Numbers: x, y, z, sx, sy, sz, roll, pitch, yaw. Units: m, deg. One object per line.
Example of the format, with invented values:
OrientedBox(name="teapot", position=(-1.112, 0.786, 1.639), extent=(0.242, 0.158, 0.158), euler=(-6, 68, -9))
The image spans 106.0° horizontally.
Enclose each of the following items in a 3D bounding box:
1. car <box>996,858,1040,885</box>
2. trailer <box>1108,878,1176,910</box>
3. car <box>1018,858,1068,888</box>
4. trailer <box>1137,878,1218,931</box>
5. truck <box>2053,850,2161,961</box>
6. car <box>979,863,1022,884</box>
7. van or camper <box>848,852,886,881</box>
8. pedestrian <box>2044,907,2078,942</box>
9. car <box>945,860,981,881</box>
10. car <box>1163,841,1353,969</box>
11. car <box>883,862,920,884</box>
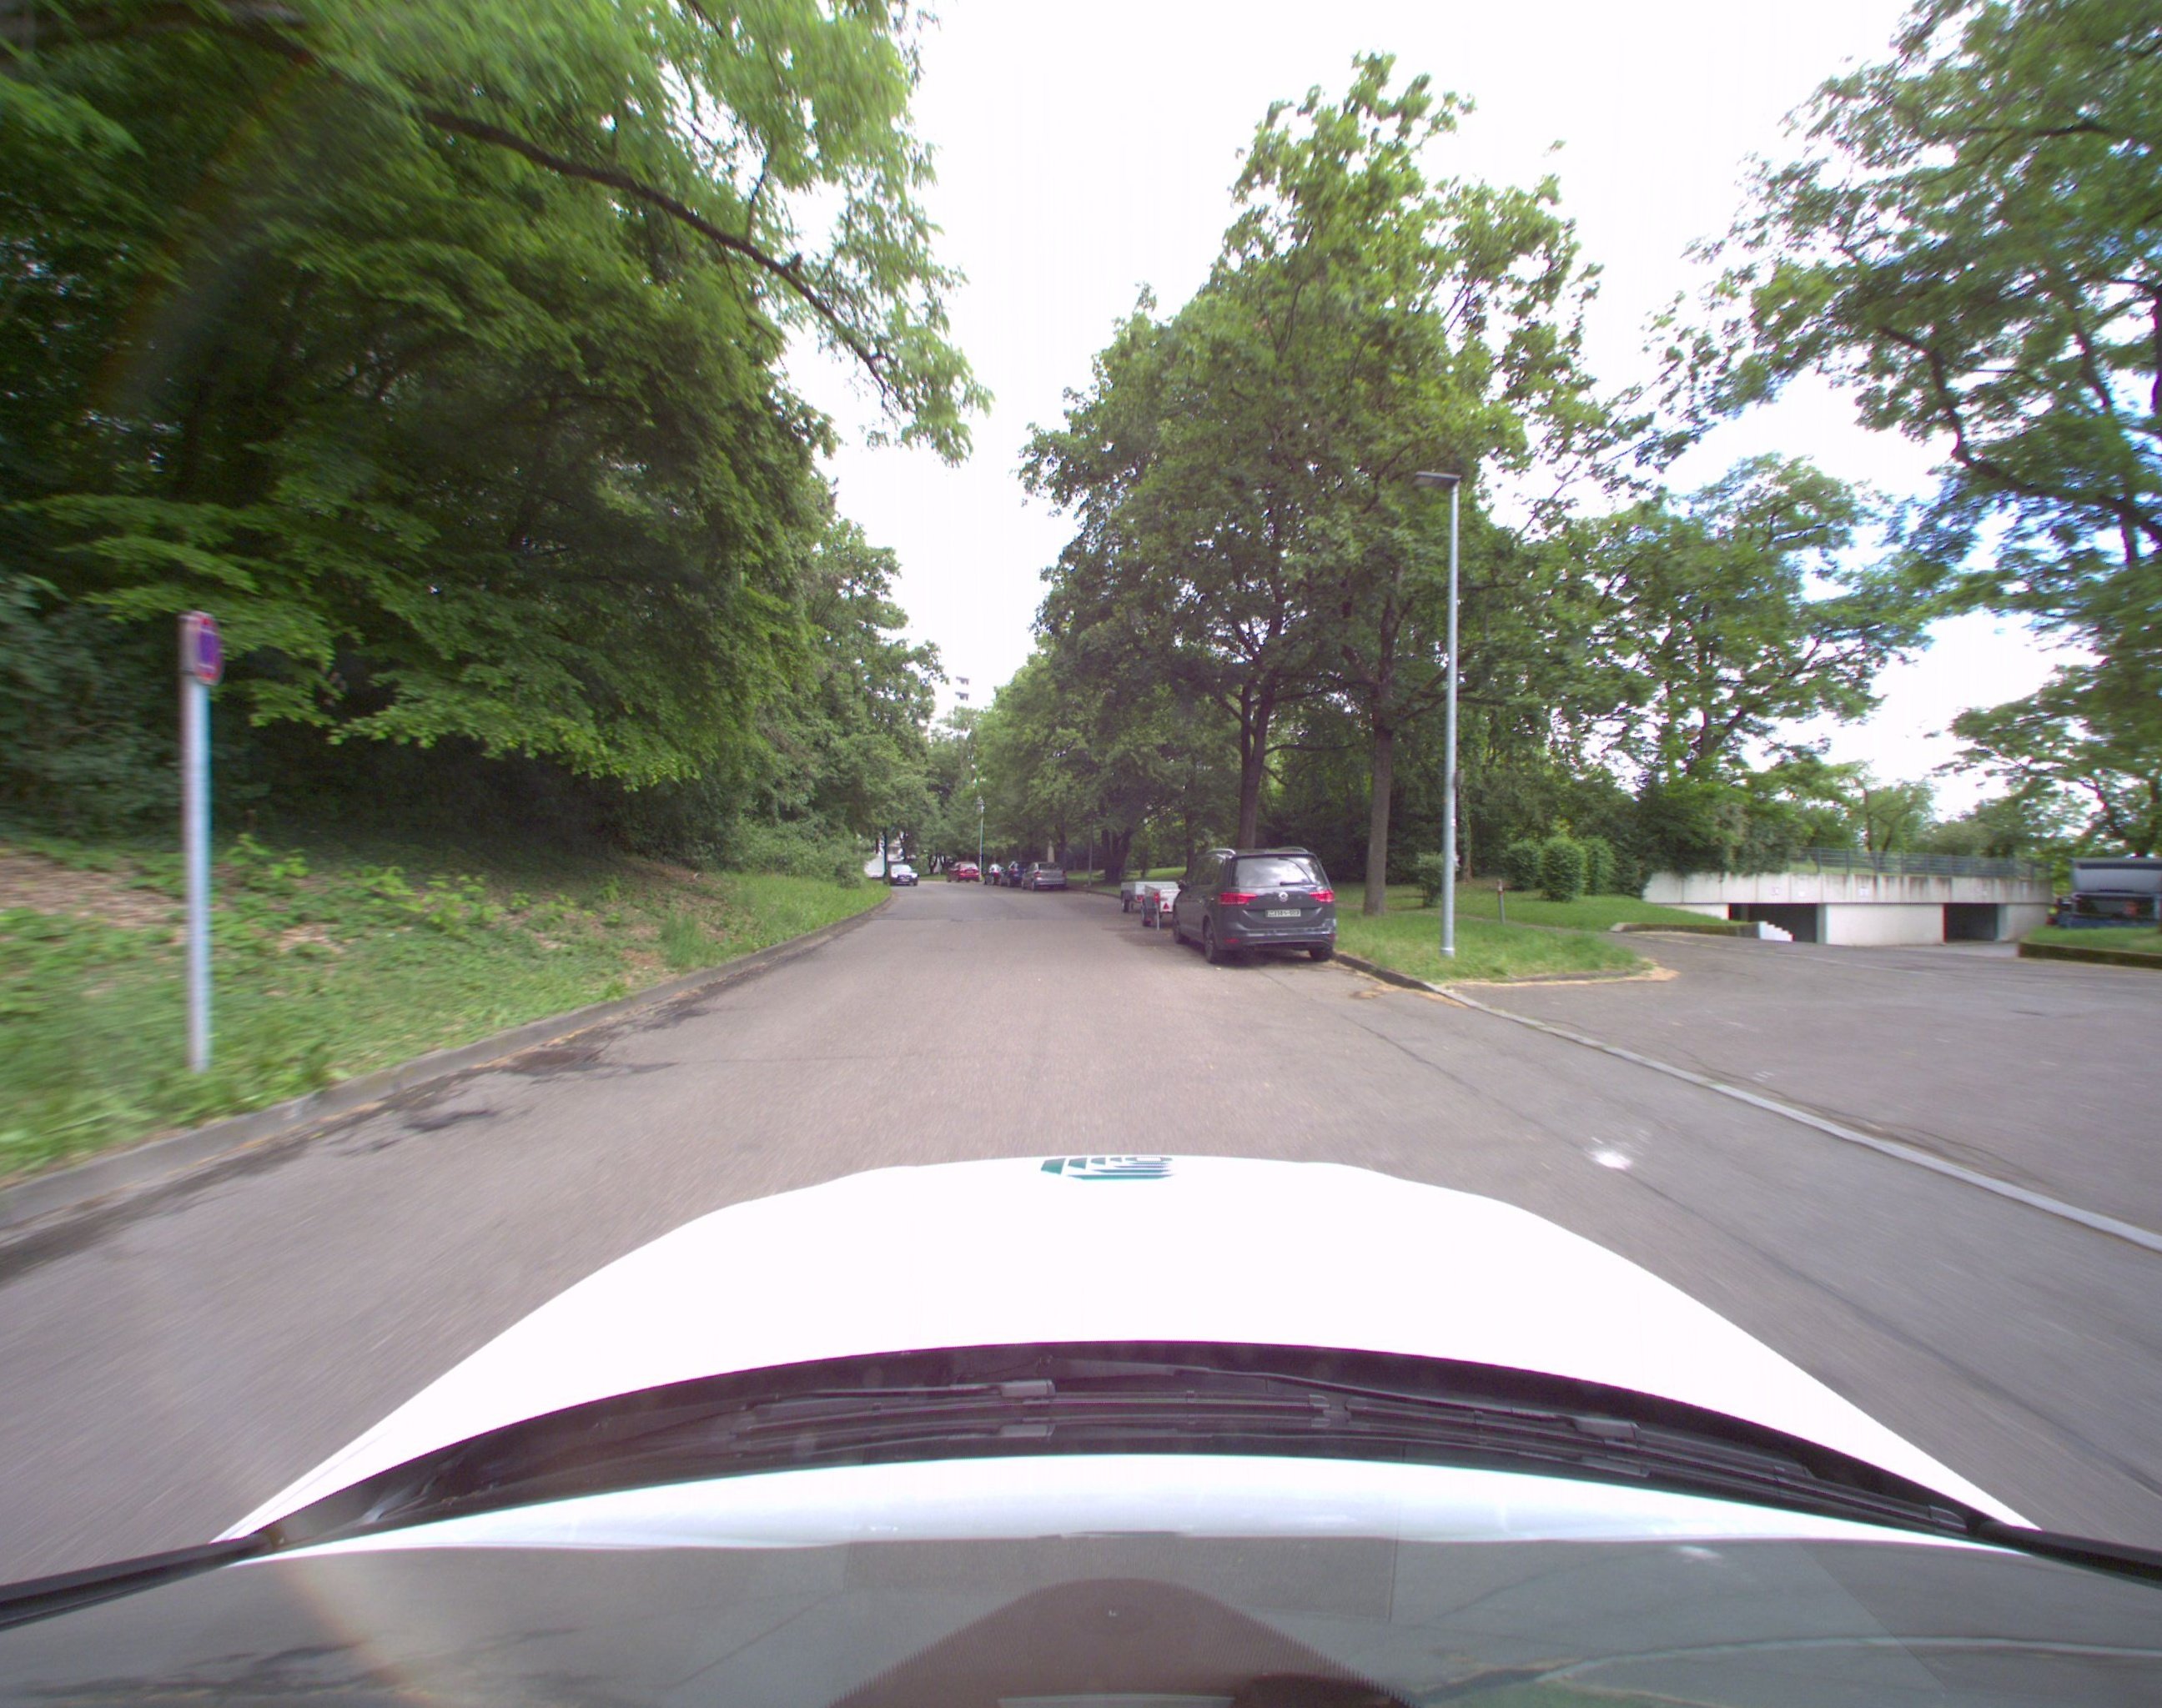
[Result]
OrientedBox(name="car", position=(-3.735, 1.052, 47.927), extent=(1.718, 1.510, 4.157), euler=(2, -2, -17))
OrientedBox(name="trailer", position=(1.737, 1.145, 23.970), extent=(1.362, 0.848, 3.270), euler=(1, -2, -7))
OrientedBox(name="car", position=(-1.977, 0.969, 41.459), extent=(1.721, 1.431, 3.927), euler=(-1, -1, -16))
OrientedBox(name="trailer", position=(2.177, 1.121, 19.199), extent=(1.353, 0.969, 3.890), euler=(1, 0, -2))
OrientedBox(name="truck", position=(42.466, 2.025, 32.692), extent=(9.598, 3.998, 2.672), euler=(2, -2, -29))
OrientedBox(name="car", position=(-5.212, 1.243, 52.431), extent=(1.756, 1.337, 4.386), euler=(0, -1, -20))
OrientedBox(name="van or camper", position=(-23.390, 1.363, 88.794), extent=(2.447, 3.007, 5.153), euler=(-1, 0, -34))
OrientedBox(name="pedestrian", position=(48.846, 3.495, 40.587), extent=(0.703, 1.614, 0.957), euler=(2, 0, -28))
OrientedBox(name="car", position=(-9.091, 1.260, 62.585), extent=(1.746, 1.562, 3.967), euler=(-1, -1, -24))
OrientedBox(name="car", position=(2.574, 0.709, 13.121), extent=(1.771, 1.662, 4.834), euler=(1, -1, -3))
OrientedBox(name="car", position=(-12.171, 1.277, 55.046), extent=(1.797, 1.389, 4.459), euler=(2, -2, -21))
